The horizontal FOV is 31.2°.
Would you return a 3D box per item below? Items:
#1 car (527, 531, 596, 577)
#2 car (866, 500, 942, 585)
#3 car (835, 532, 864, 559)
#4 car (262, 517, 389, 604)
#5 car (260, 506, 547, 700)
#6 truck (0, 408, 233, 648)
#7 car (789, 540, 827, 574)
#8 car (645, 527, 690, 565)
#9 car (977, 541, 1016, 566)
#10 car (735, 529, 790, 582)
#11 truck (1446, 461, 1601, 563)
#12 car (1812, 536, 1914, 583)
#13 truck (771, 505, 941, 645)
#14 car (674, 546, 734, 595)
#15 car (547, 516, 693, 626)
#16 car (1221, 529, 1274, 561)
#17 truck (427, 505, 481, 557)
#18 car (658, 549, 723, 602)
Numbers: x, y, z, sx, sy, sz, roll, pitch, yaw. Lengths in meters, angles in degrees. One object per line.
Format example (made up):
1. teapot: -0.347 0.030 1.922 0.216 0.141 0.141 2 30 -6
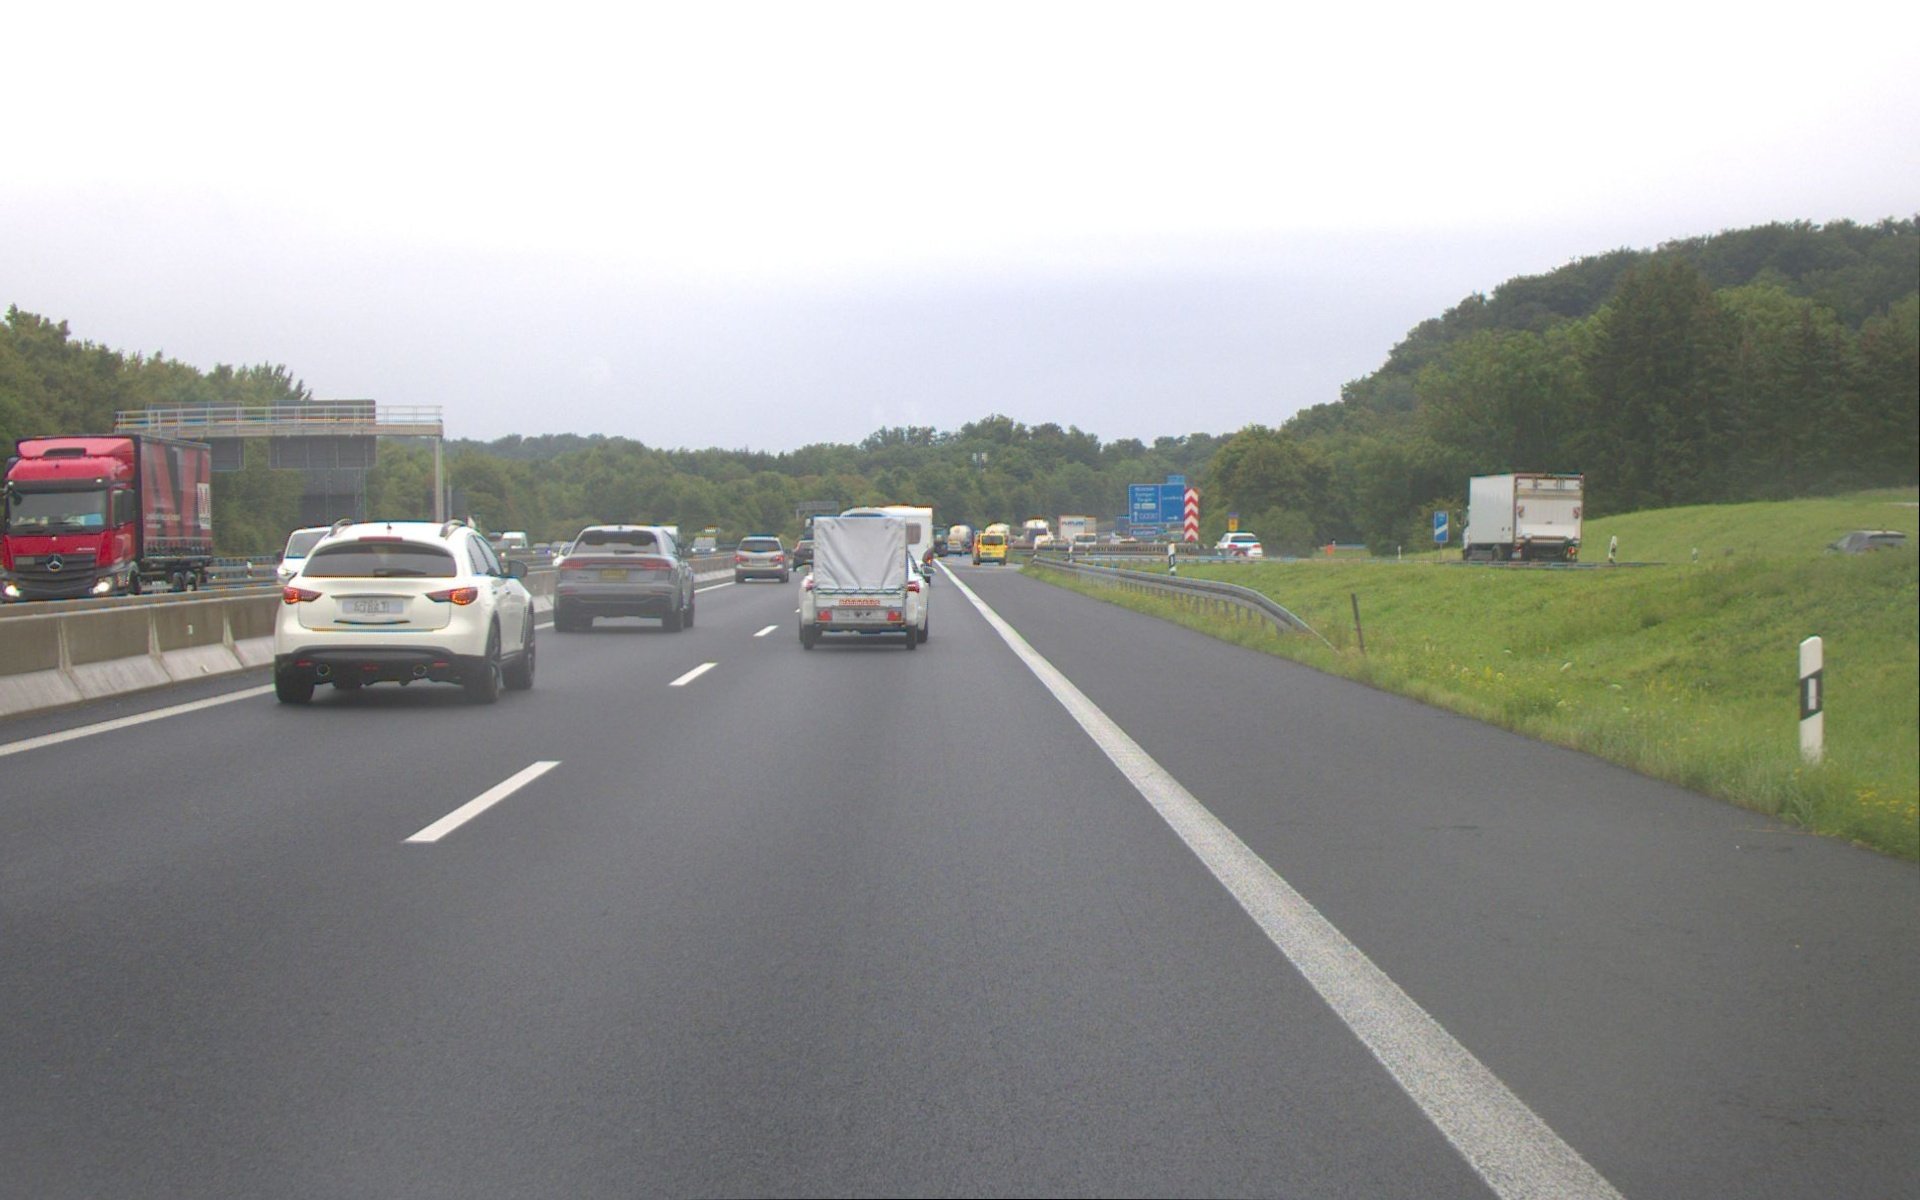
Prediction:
1. car: -15.531 -1.800 134.122 2.156 1.759 4.961 0 1 -1
2. car: -1.877 -1.923 113.394 2.331 2.716 6.541 0 1 -2
3. car: -6.582 -3.270 204.934 1.645 1.568 4.000 1 1 0
4. car: -14.360 -0.907 78.032 1.993 1.856 5.222 -2 1 -1
5. car: -5.115 -0.016 32.201 2.048 1.665 4.541 1 1 -1
6. truck: -18.237 -1.528 73.169 3.400 4.717 10.486 1 1 -1
7. car: -7.159 -2.028 162.317 1.645 1.568 4.000 1 1 0
8. car: -14.622 -2.721 171.981 1.993 1.830 4.680 1 1 -2
9. car: 2.306 -2.943 216.339 1.993 1.546 4.001 1 1 -6
10. car: -6.854 -1.570 119.396 1.738 1.787 4.000 1 1 -1
11. truck: 21.068 -3.276 129.167 3.824 3.646 8.273 1 1 -4
12. car: 25.735 -1.160 98.099 1.697 1.284 3.536 1 1 -5
13. truck: -1.461 -0.397 48.673 2.242 1.833 6.585 0 1 -2
14. car: -8.996 -1.056 120.991 1.819 1.656 4.017 0 1 0
15. car: -5.516 -0.492 56.320 1.975 1.697 4.803 1 1 -1
16. car: 14.391 -2.775 172.278 1.993 1.546 4.001 1 1 -5
17. truck: -36.074 -4.918 245.468 2.685 3.648 9.559 -1 1 -2
18. car: -8.660 -0.814 110.736 1.819 1.656 4.017 0 1 0
